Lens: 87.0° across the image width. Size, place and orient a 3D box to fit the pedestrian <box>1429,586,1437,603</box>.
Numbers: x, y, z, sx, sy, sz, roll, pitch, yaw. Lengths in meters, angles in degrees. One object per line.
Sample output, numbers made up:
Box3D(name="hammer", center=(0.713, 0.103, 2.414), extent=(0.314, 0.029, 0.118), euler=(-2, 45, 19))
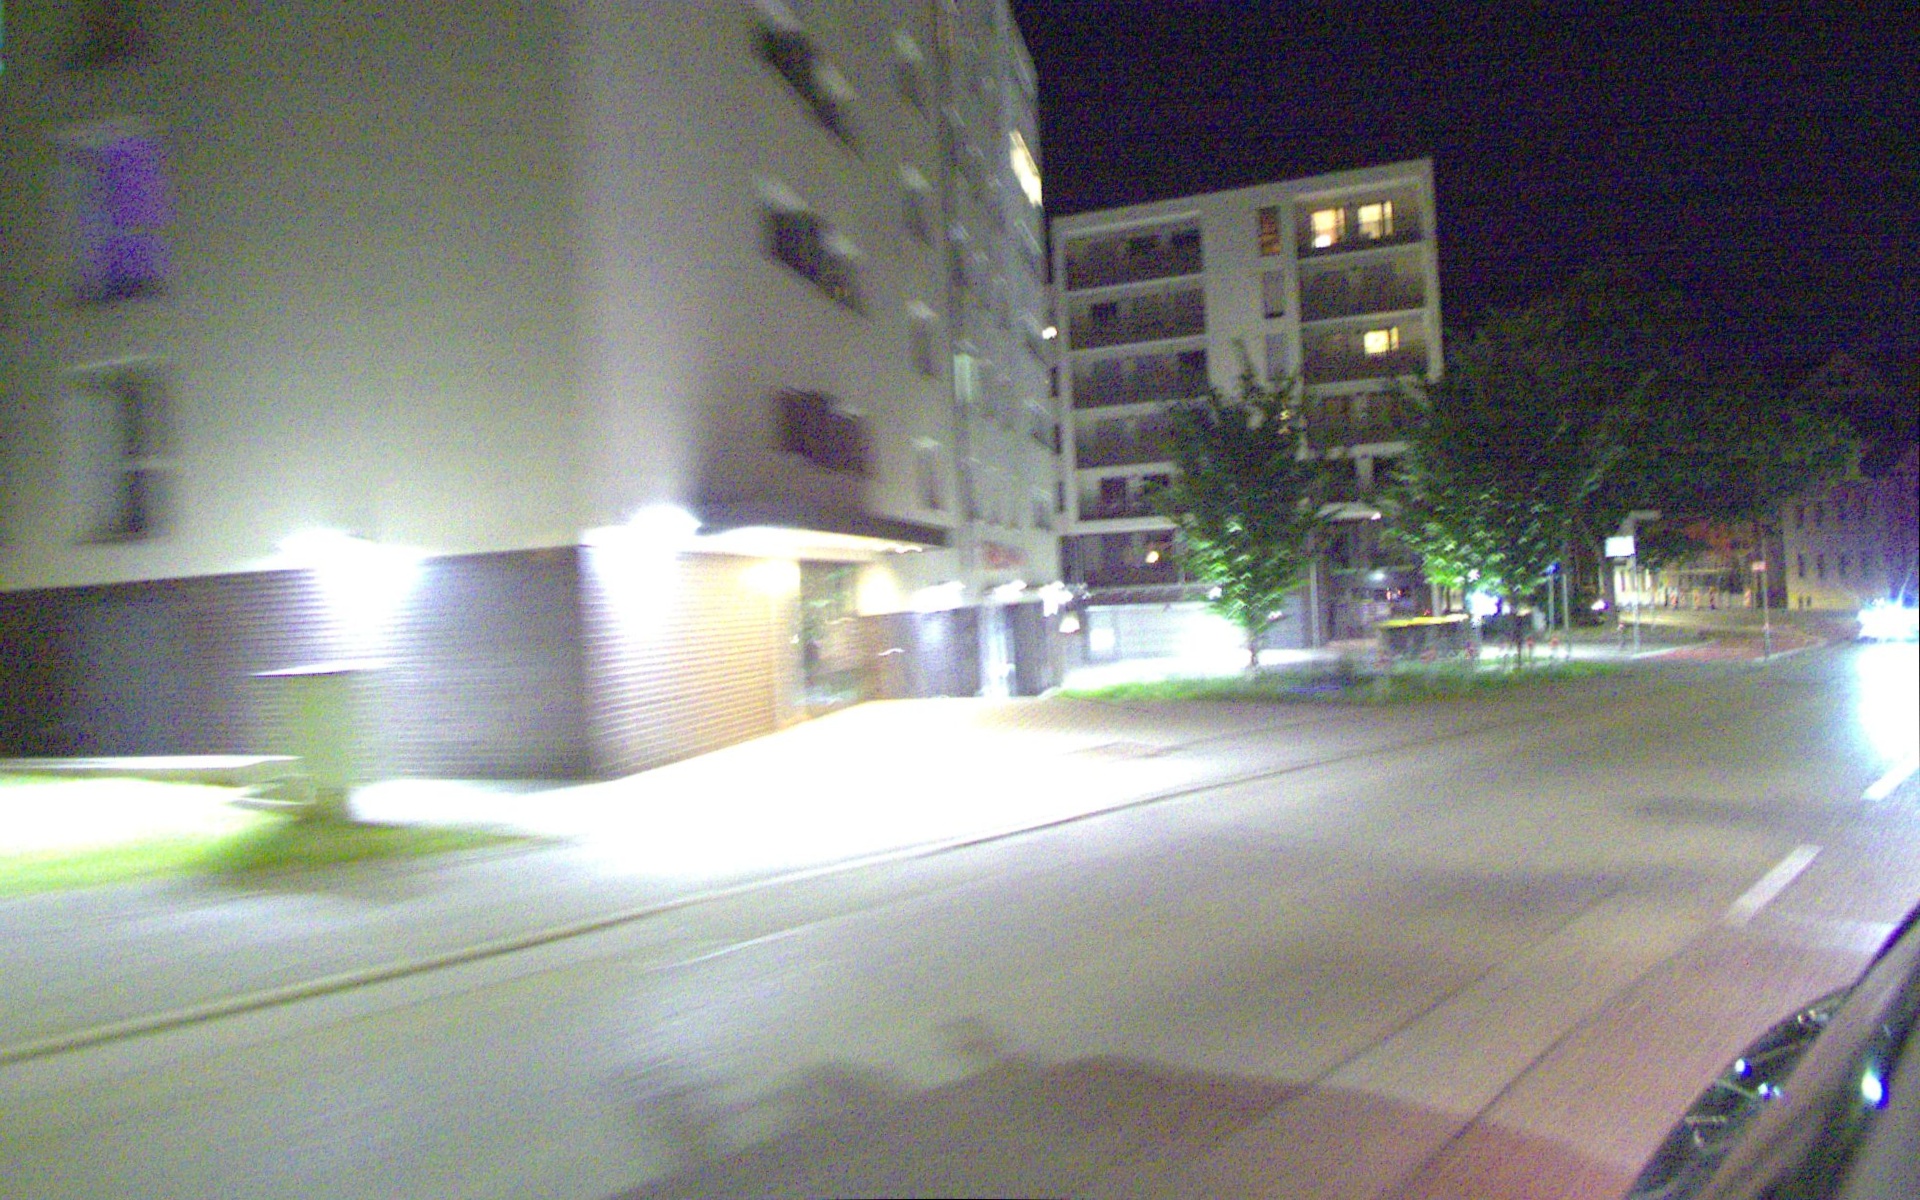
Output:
Box3D(name="pedestrian", center=(49.915, -0.586, 106.866), extent=(0.615, 1.834, 0.755), euler=(-2, -1, 17))

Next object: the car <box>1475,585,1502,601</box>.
Box3D(name="car", center=(58.118, -0.724, 111.318), extent=(1.974, 1.656, 3.975), euler=(-2, 0, 19))

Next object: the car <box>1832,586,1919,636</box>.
Box3D(name="car", center=(30.901, 0.307, 33.192), extent=(1.706, 1.448, 4.475), euler=(-4, 0, 16))
